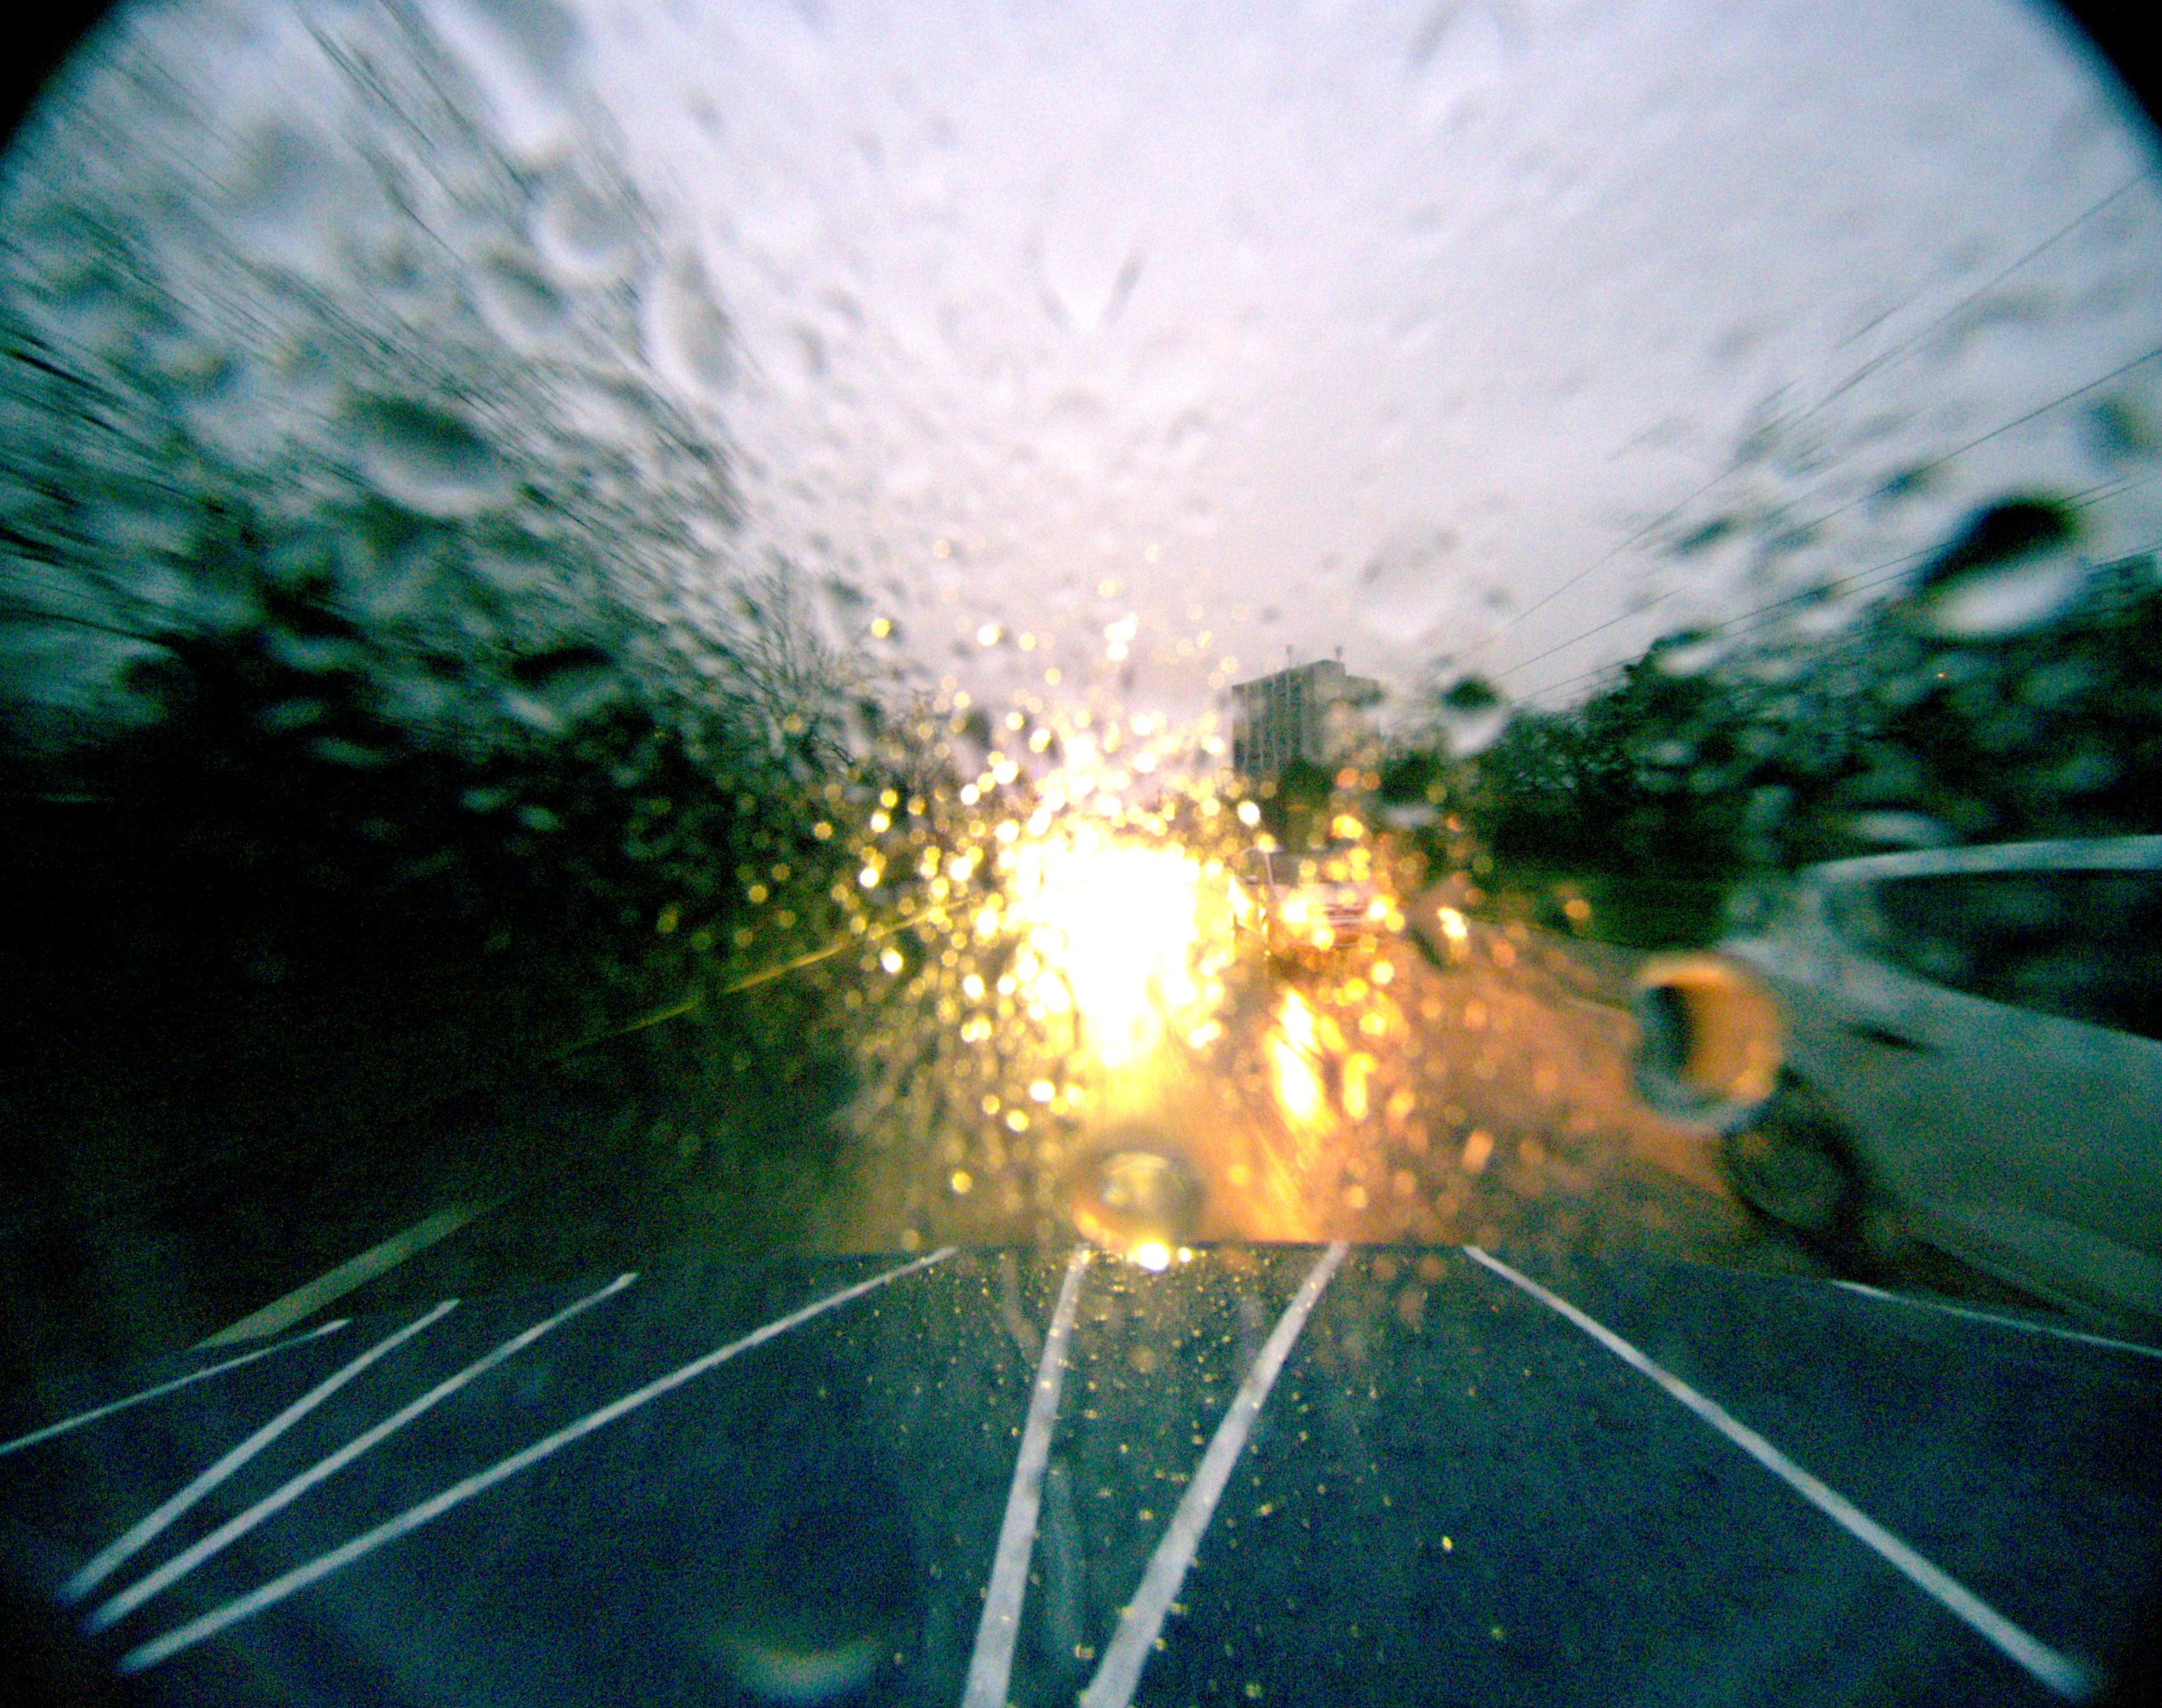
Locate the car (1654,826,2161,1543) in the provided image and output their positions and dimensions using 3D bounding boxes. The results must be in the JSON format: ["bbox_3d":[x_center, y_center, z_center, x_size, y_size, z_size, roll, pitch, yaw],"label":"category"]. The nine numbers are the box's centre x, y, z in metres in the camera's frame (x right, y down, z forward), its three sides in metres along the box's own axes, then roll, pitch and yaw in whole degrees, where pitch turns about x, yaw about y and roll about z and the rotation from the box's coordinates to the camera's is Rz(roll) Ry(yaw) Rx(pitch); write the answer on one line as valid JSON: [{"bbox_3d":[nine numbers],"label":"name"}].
[{"bbox_3d":[3.300,0.742,1.210,1.718,1.638,4.147,-1,0,1],"label":"car"}]

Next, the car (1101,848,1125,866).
[{"bbox_3d":[3.126,0.251,75.133,1.999,1.652,3.998,-3,1,-3],"label":"car"}]

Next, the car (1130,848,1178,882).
[{"bbox_3d":[3.603,0.524,38.075,1.953,1.590,4.124,-1,0,-1],"label":"car"}]

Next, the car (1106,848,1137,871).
[{"bbox_3d":[2.890,0.364,55.210,1.953,1.590,4.124,-1,0,-1],"label":"car"}]

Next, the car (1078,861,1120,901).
[{"bbox_3d":[0.783,1.133,33.554,1.679,1.590,4.044,-1,0,1],"label":"car"}]

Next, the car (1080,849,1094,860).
[{"bbox_3d":[0.885,0.081,114.535,1.953,1.590,4.123,-1,0,-2],"label":"car"}]

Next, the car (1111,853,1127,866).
[{"bbox_3d":[5.055,0.679,101.994,1.998,1.605,3.999,-3,1,1],"label":"car"}]

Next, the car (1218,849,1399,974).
[{"bbox_3d":[3.275,0.717,11.765,1.693,1.530,4.191,-2,0,3],"label":"car"}]
